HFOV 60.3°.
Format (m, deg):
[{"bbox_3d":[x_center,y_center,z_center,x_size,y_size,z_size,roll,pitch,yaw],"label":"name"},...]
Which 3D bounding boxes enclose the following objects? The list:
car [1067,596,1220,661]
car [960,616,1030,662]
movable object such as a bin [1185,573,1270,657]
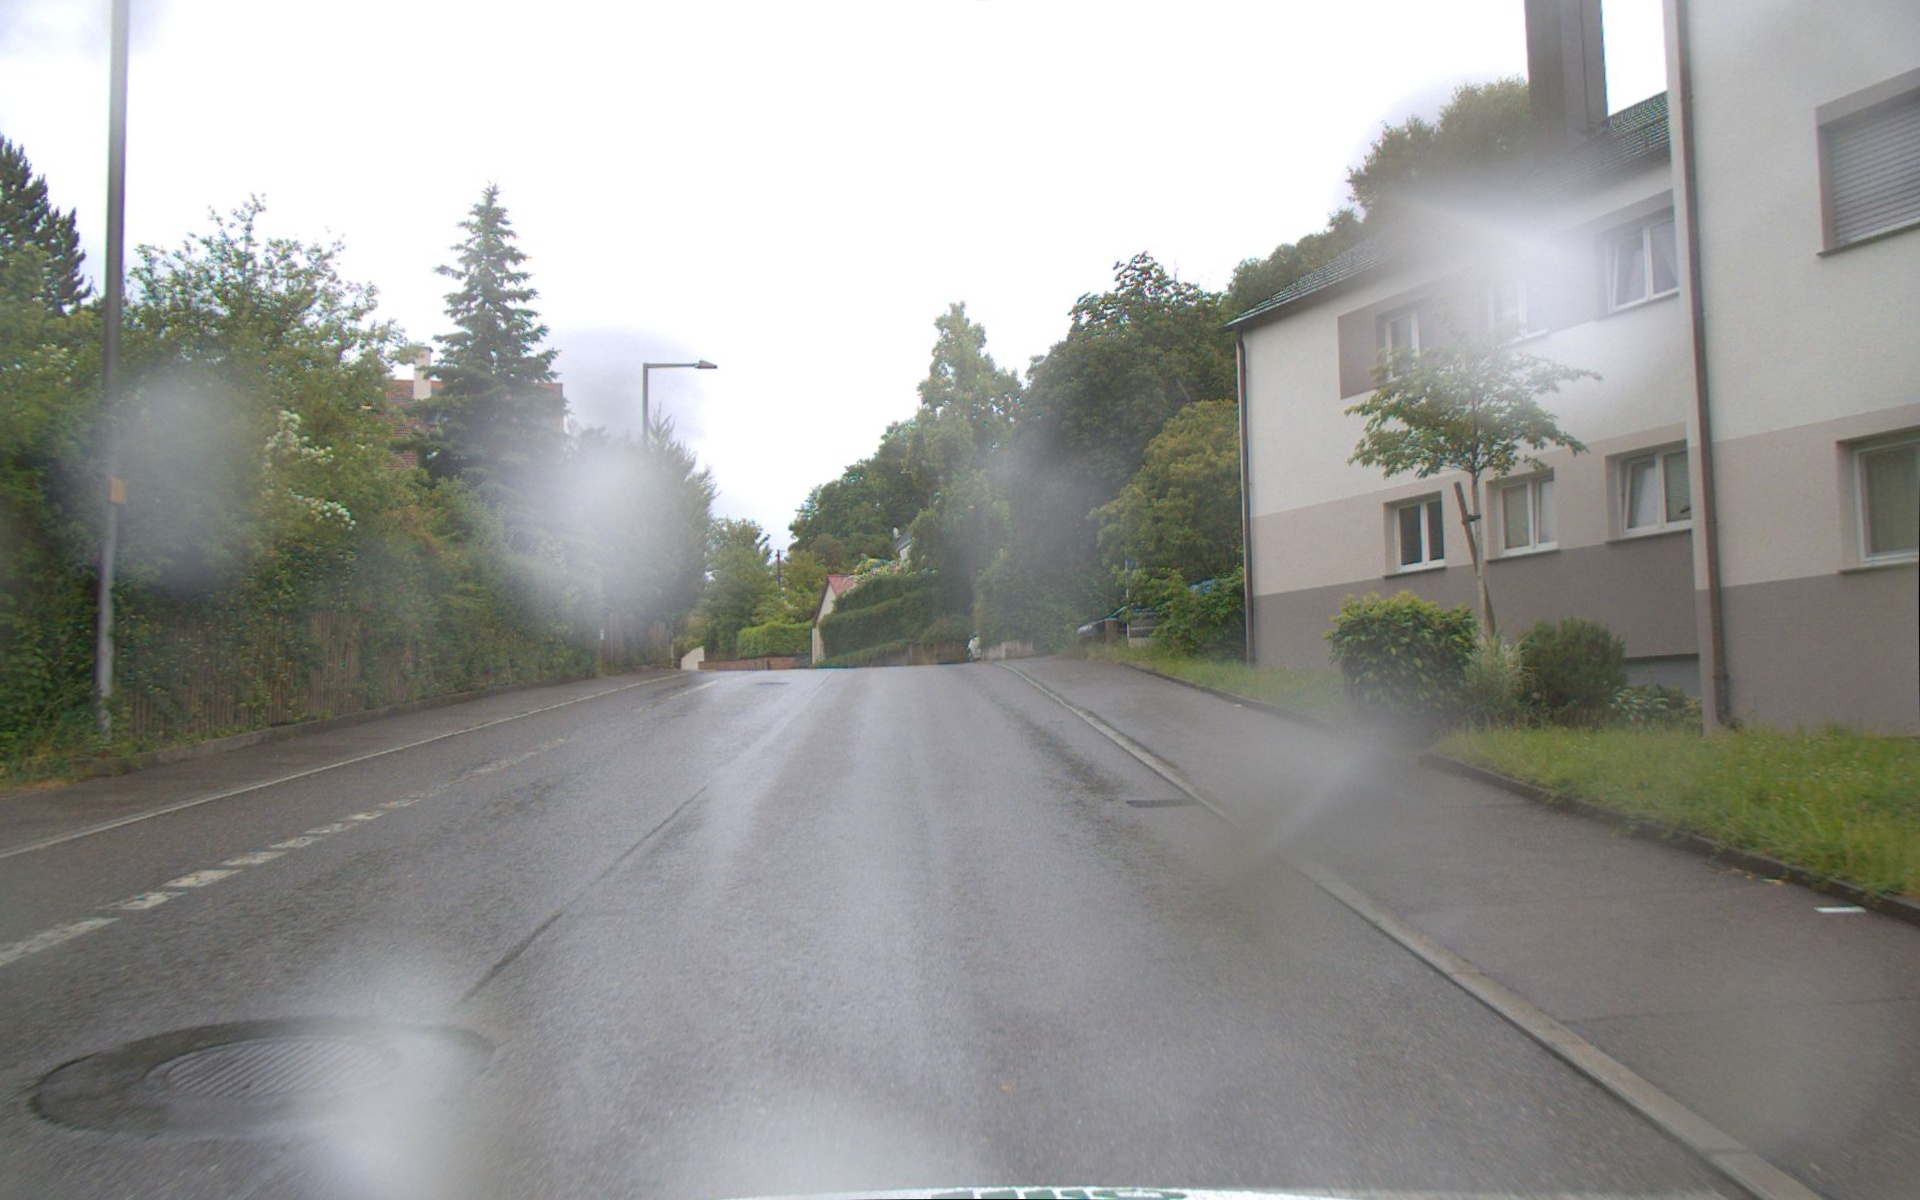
[{"bbox_3d":[5.271,0.834,47.369,4.239,1.747,1.730,1,-3,10],"label":"car"},{"bbox_3d":[1.353,1.547,64.872,1.508,1.561,3.826,-6,-1,-17],"label":"car"},{"bbox_3d":[5.037,0.284,31.145,1.230,1.523,0.971,-2,-1,-36],"label":"movable object such as a bin"}]
